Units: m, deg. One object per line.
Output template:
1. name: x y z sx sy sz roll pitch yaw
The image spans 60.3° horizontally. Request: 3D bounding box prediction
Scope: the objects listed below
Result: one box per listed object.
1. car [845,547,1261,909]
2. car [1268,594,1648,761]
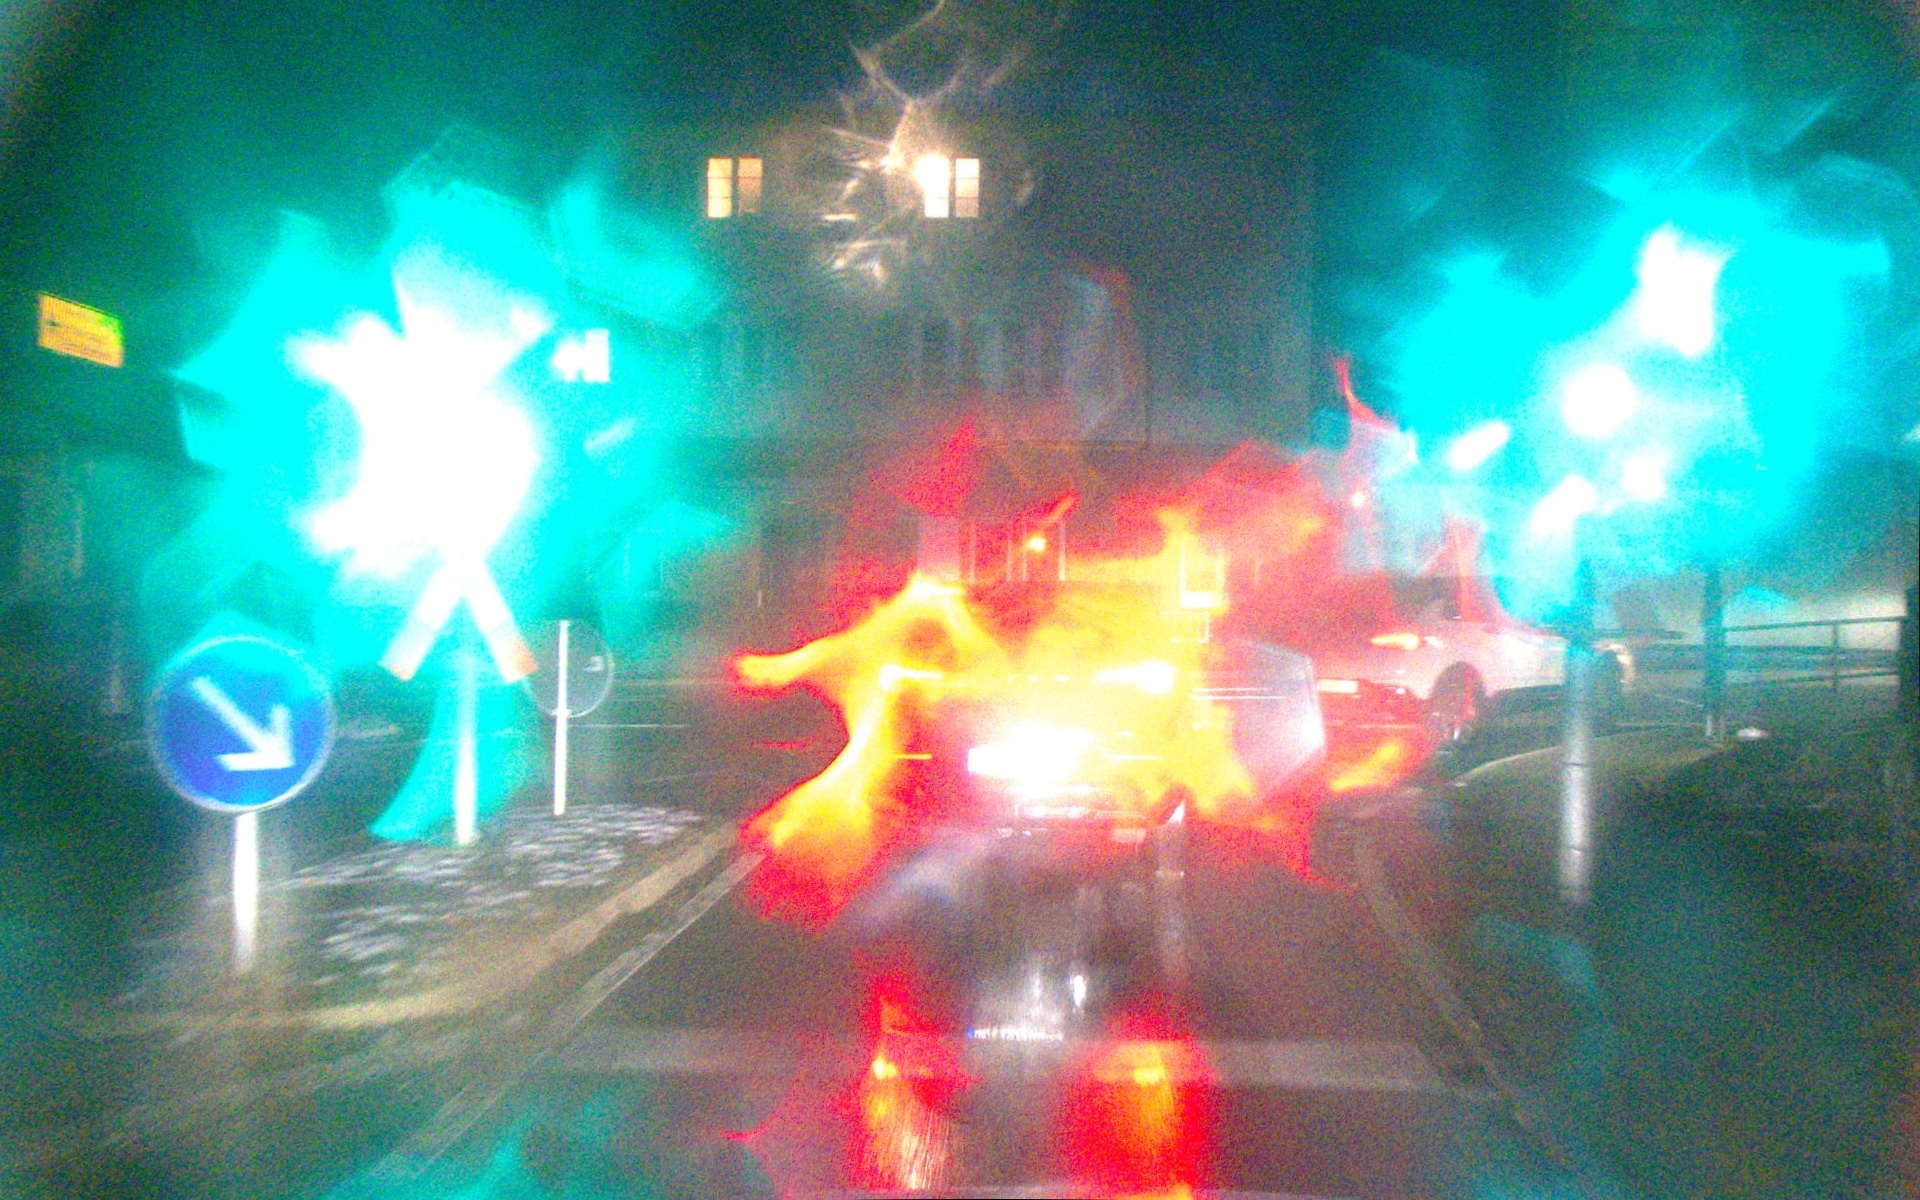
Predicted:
1. car: 0.655 0.656 10.349 2.014 1.707 4.142 3 -1 5
2. car: 5.327 0.731 17.451 4.201 1.537 1.888 1 0 -40
